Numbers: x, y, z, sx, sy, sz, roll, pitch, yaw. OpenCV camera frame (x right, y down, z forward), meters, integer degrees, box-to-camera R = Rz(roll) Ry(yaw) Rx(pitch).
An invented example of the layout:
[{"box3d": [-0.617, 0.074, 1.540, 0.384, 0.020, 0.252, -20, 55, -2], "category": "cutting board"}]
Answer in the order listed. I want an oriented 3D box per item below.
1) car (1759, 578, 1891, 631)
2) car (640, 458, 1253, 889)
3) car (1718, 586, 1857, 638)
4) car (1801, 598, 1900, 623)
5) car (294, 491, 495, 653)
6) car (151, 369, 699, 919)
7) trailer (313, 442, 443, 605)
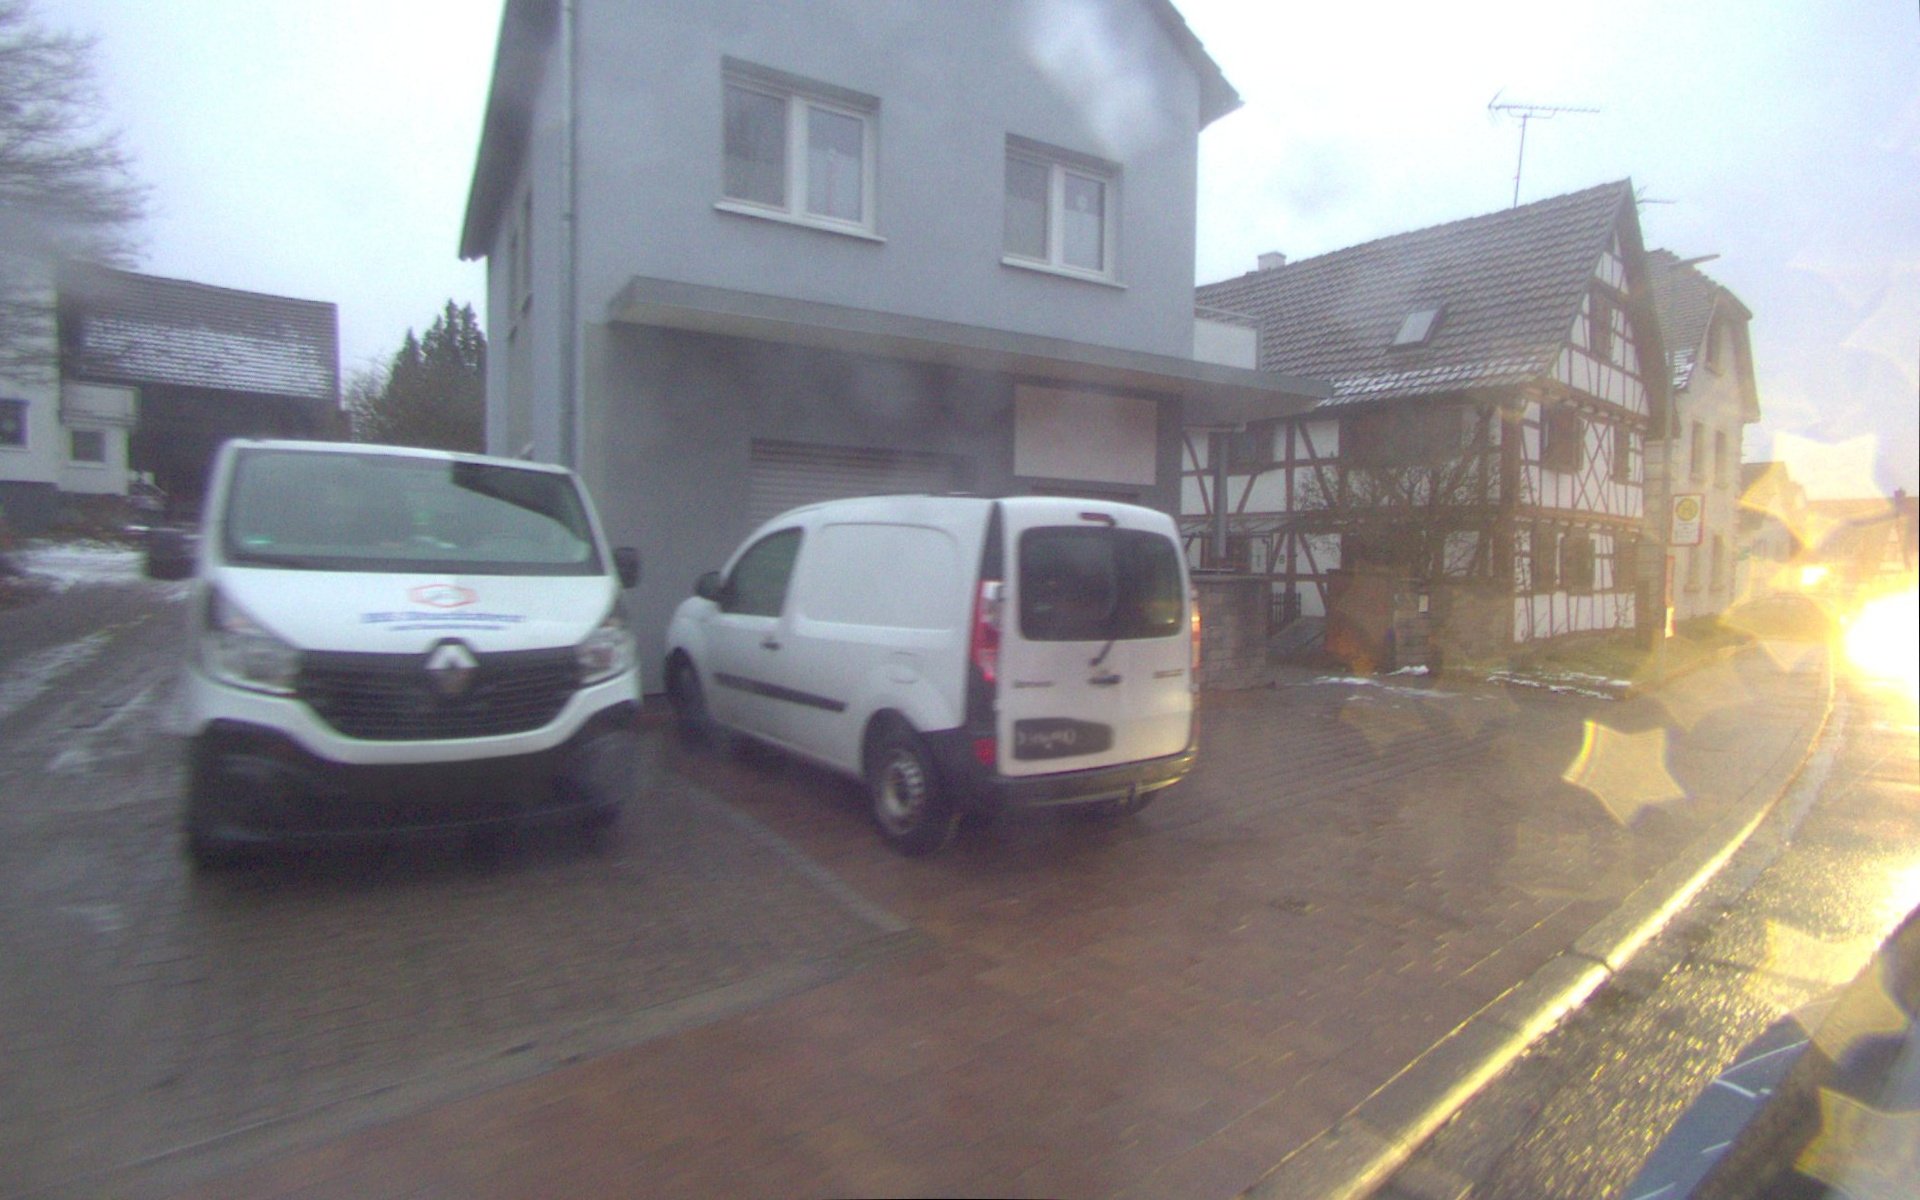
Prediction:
[{"box3d": [34.664, 0.157, 40.696, 3.872, 1.900, 1.843, 3, 2, 39], "category": "car"}, {"box3d": [-0.411, 0.173, 6.523, 1.830, 1.865, 4.055, 0, 4, -38], "category": "car"}, {"box3d": [30.381, 0.396, 37.262, 3.837, 1.647, 1.589, 4, 2, 40], "category": "car"}, {"box3d": [47.399, 0.545, 53.894, 3.879, 1.141, 1.526, 4, 2, 44], "category": "car"}, {"box3d": [-6.947, -0.456, 12.479, 1.843, 1.641, 4.008, 0, 5, -30], "category": "car"}, {"box3d": [-3.373, -0.003, 6.119, 1.899, 1.911, 5.002, 1, 3, -34], "category": "car"}, {"box3d": [-10.290, -1.425, 18.034, 1.802, 2.546, 4.010, 0, 6, -29], "category": "trailer"}]
